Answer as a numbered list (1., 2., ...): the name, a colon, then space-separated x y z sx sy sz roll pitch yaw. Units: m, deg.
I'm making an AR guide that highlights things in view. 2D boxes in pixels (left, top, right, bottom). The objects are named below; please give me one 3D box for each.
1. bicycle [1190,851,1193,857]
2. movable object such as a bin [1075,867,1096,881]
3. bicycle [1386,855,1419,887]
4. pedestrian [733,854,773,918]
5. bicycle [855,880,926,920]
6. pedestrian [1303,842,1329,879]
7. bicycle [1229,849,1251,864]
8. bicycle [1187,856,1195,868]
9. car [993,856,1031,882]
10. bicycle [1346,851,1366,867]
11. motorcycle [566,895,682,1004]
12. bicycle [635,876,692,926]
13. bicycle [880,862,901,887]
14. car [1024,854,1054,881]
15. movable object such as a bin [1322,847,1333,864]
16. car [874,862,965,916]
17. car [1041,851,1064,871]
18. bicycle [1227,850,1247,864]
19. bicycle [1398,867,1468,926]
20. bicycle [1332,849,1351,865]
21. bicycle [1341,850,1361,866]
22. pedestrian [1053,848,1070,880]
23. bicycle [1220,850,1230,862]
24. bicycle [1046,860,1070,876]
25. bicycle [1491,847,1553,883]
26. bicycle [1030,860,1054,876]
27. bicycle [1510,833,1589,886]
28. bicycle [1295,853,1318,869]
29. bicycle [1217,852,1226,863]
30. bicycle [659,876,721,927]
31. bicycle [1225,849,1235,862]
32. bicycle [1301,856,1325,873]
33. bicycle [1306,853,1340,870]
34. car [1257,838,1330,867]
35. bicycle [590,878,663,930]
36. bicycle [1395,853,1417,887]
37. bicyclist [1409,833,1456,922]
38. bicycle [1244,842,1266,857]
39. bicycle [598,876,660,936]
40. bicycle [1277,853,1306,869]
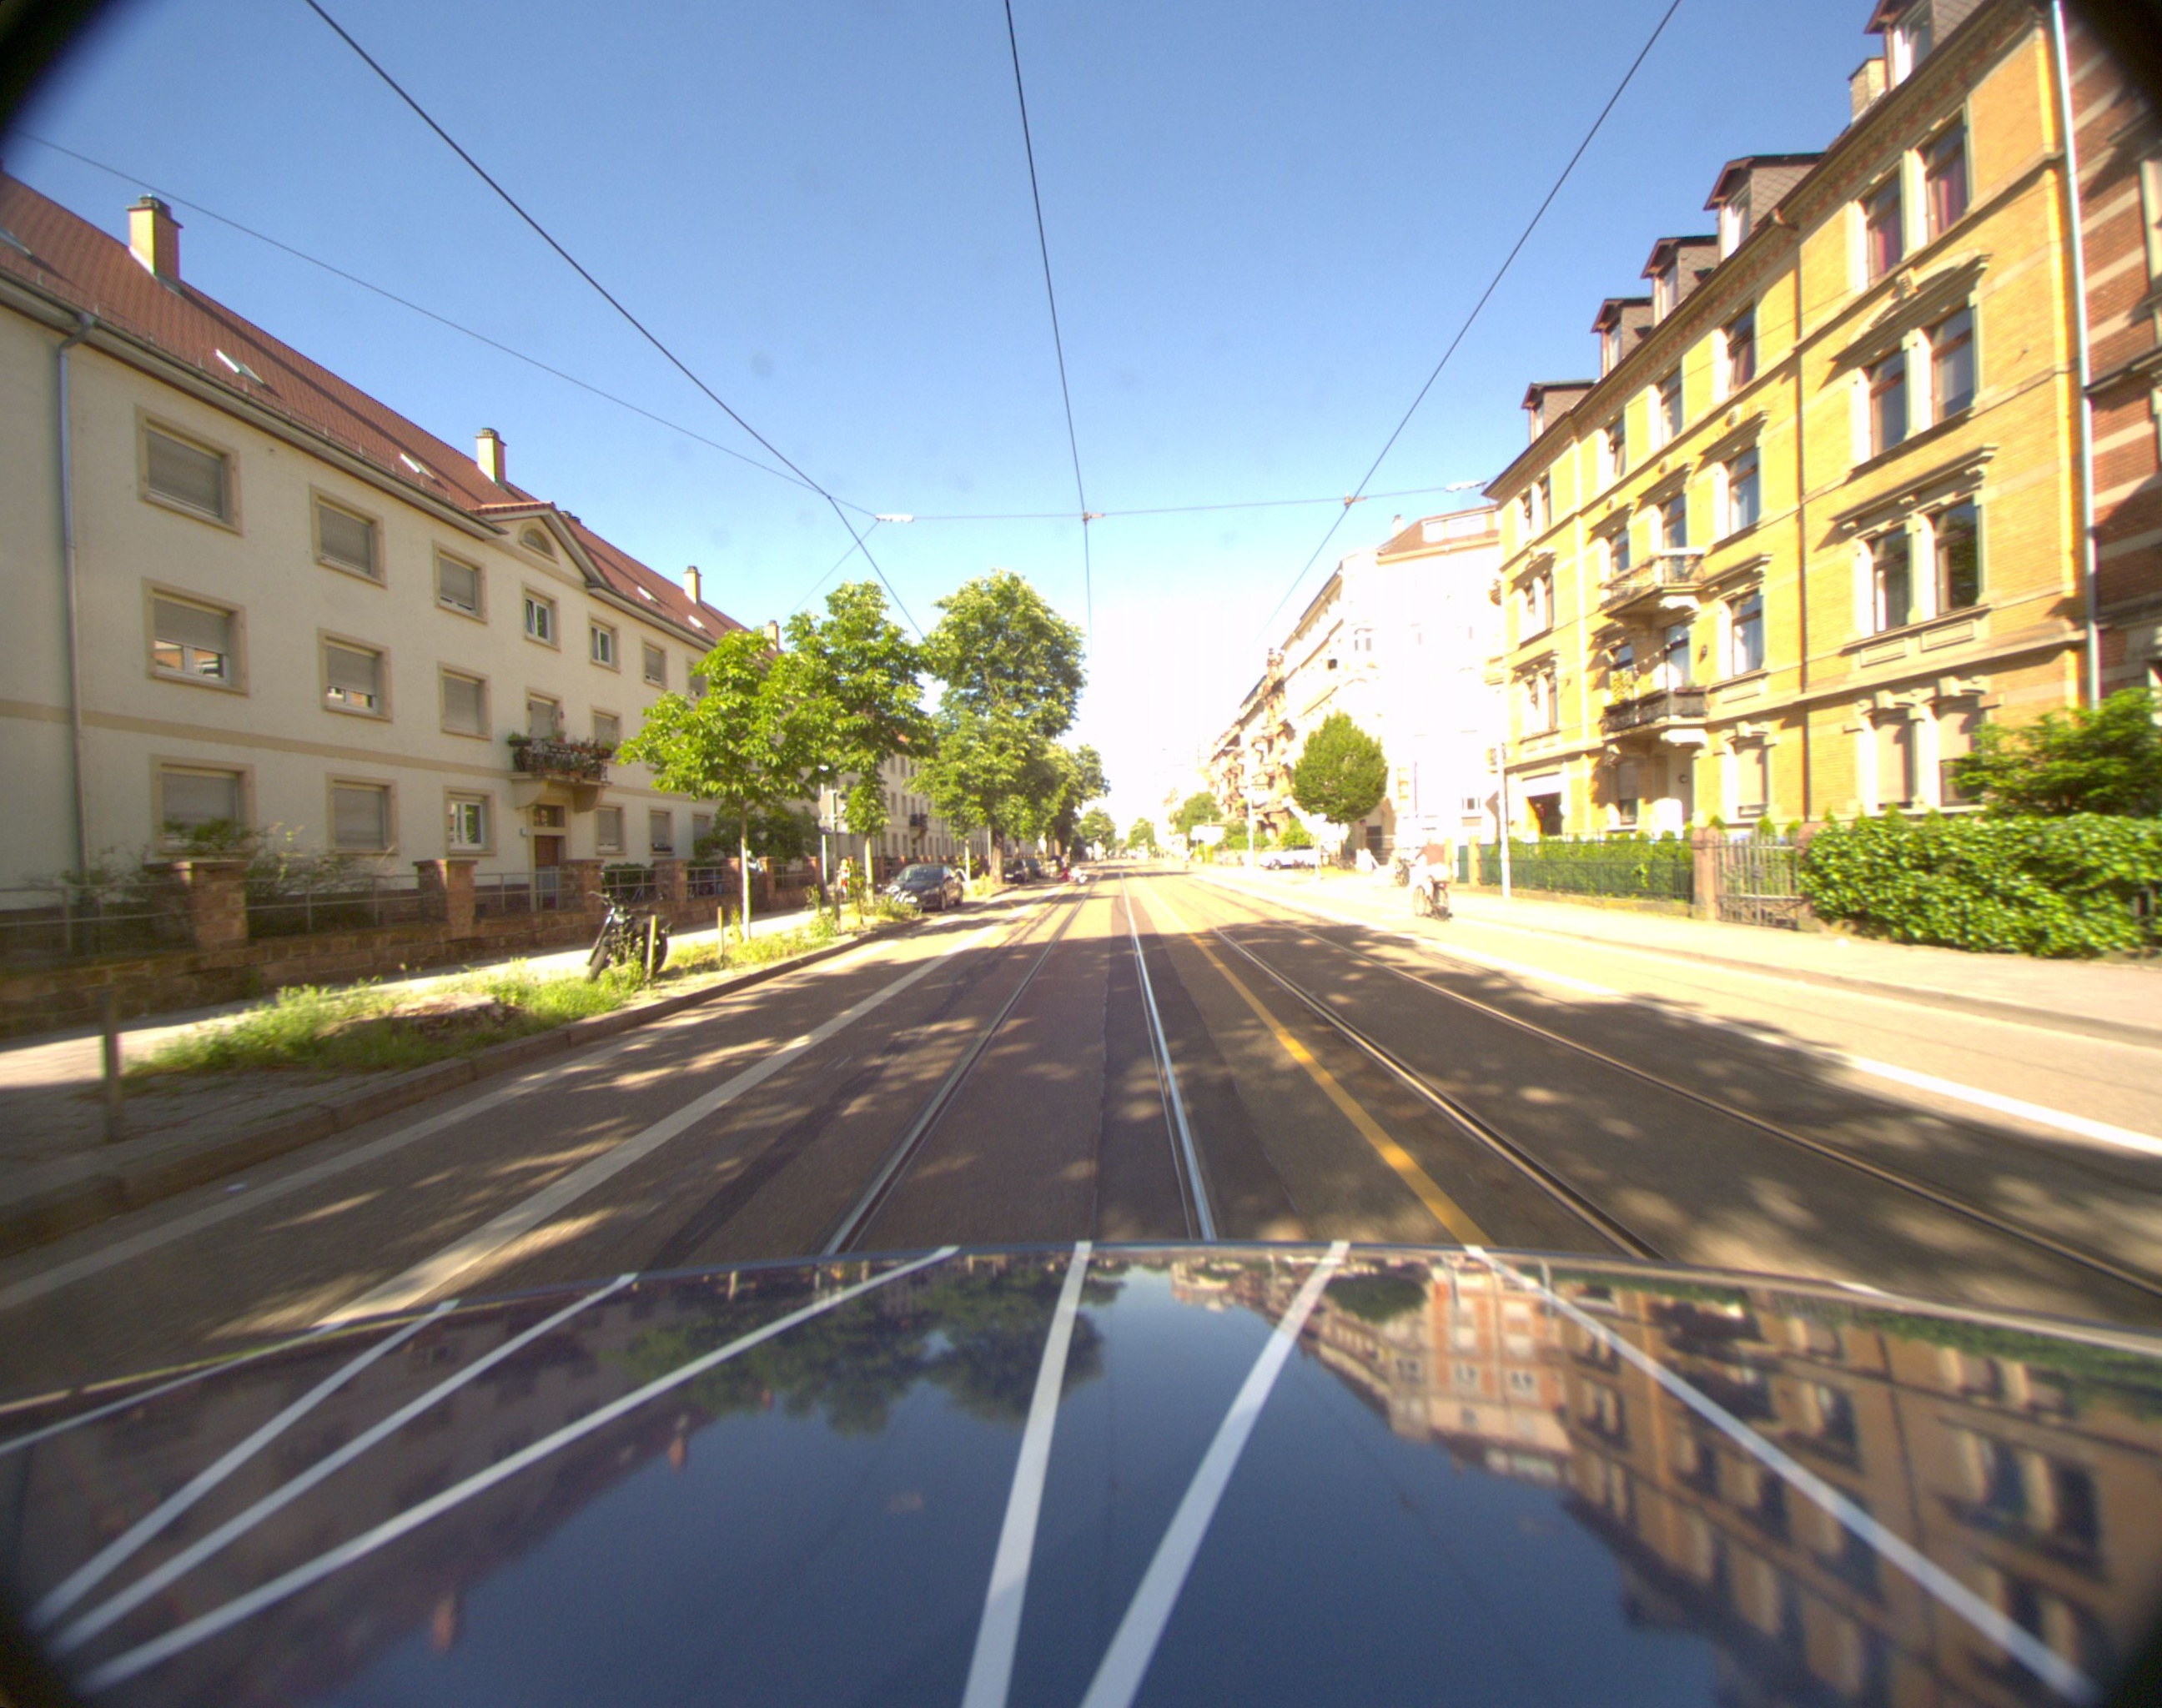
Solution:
1. bicycle: 16.353 -0.005 112.098 0.342 0.920 1.944 -3 0 7
2. movable object such as a bin: 0.224 1.070 41.376 0.921 0.739 0.668 2 1 30
3. bicycle: 10.800 0.550 25.577 0.336 0.995 1.870 -3 0 3
4. pedestrian: -9.125 0.882 21.120 0.763 1.714 0.581 -3 1 32
5. bicycle: -5.298 1.270 21.187 1.797 1.061 0.621 0 1 -2
6. pedestrian: 11.491 0.299 37.167 0.831 1.714 1.082 -4 2 -2
7. bicycle: 12.564 0.198 60.173 0.566 1.027 1.764 -3 -1 -34
8. bicycle: 9.131 0.633 63.031 0.461 0.920 2.203 -1 0 3
9. car: -4.021 0.848 44.896 1.724 1.465 4.246 -1 0 1
10. bicycle: 16.906 0.283 46.767 1.545 0.909 0.246 -4 3 -33
11. motorcycle: -5.883 1.184 9.897 0.496 1.184 1.861 2 0 -5
12. bicycle: -10.546 1.172 19.247 0.442 1.146 1.574 -3 0 3
13. bicycle: -9.867 1.052 39.426 0.544 1.213 1.742 -1 0 3
14. car: -2.971 0.916 54.467 1.669 1.750 4.231 -2 0 2
15. movable object such as a bin: 15.402 0.083 47.481 0.577 1.064 0.717 -3 1 16
16. car: -4.952 1.020 23.853 1.791 1.455 4.045 -2 0 3
17. car: -2.775 0.673 74.777 1.748 1.755 4.478 -3 0 2
18. bicycle: 12.759 0.246 62.218 0.565 1.027 1.765 -6 0 -22
19. bicycle: 7.169 0.840 15.551 0.693 1.106 1.719 -1 0 3
20. bicycle: 15.519 0.189 45.212 0.619 0.909 1.297 0 3 41
21. bicycle: 16.747 0.243 47.041 1.545 0.909 0.246 -4 3 -33
22. pedestrian: -1.074 0.529 41.620 0.602 1.760 0.911 0 1 -28
23. bicycle: 12.848 0.187 67.994 0.564 1.027 1.768 -4 0 2
24. bicycle: -1.780 1.056 58.130 1.765 1.071 0.433 -3 1 4
25. bicycle: 12.905 0.312 22.242 1.539 0.969 0.389 -3 1 1
26. bicycle: -2.997 1.090 58.561 1.765 1.071 0.433 -3 1 4
27. bicycle: 12.619 0.144 20.484 1.767 1.313 0.613 -3 1 -6
28. bicycle: 13.731 0.399 46.202 1.296 0.909 0.619 -4 3 -33
29. bicycle: 13.317 0.335 71.846 0.564 1.027 1.768 -4 -1 3
30. bicycle: -9.883 1.182 19.281 0.449 1.146 1.917 -2 0 3
31. bicycle: 12.940 0.119 66.127 0.564 1.027 1.768 -4 0 2
32. bicycle: 13.302 0.599 43.522 1.296 0.909 0.619 -4 3 -33
33. bicycle: 14.312 0.455 45.031 0.581 0.970 1.983 -4 1 -32
34. car: 14.377 -0.114 51.572 4.455 1.634 1.967 -3 1 5
35. bicycle: -11.406 1.224 19.157 0.546 1.146 1.917 -3 0 3
36. bicycle: 11.024 0.523 25.806 0.371 1.120 0.809 -3 1 3
37. bicyclist: 7.193 0.465 15.565 0.662 1.791 0.616 0 1 3
38. bicycle: 15.666 -0.416 68.463 1.766 1.148 0.565 -5 0 2
39. bicycle: -10.401 1.172 17.520 0.349 1.254 1.426 -3 0 7
40. bicycle: 12.943 0.422 46.669 1.791 0.909 0.619 -4 3 -33
